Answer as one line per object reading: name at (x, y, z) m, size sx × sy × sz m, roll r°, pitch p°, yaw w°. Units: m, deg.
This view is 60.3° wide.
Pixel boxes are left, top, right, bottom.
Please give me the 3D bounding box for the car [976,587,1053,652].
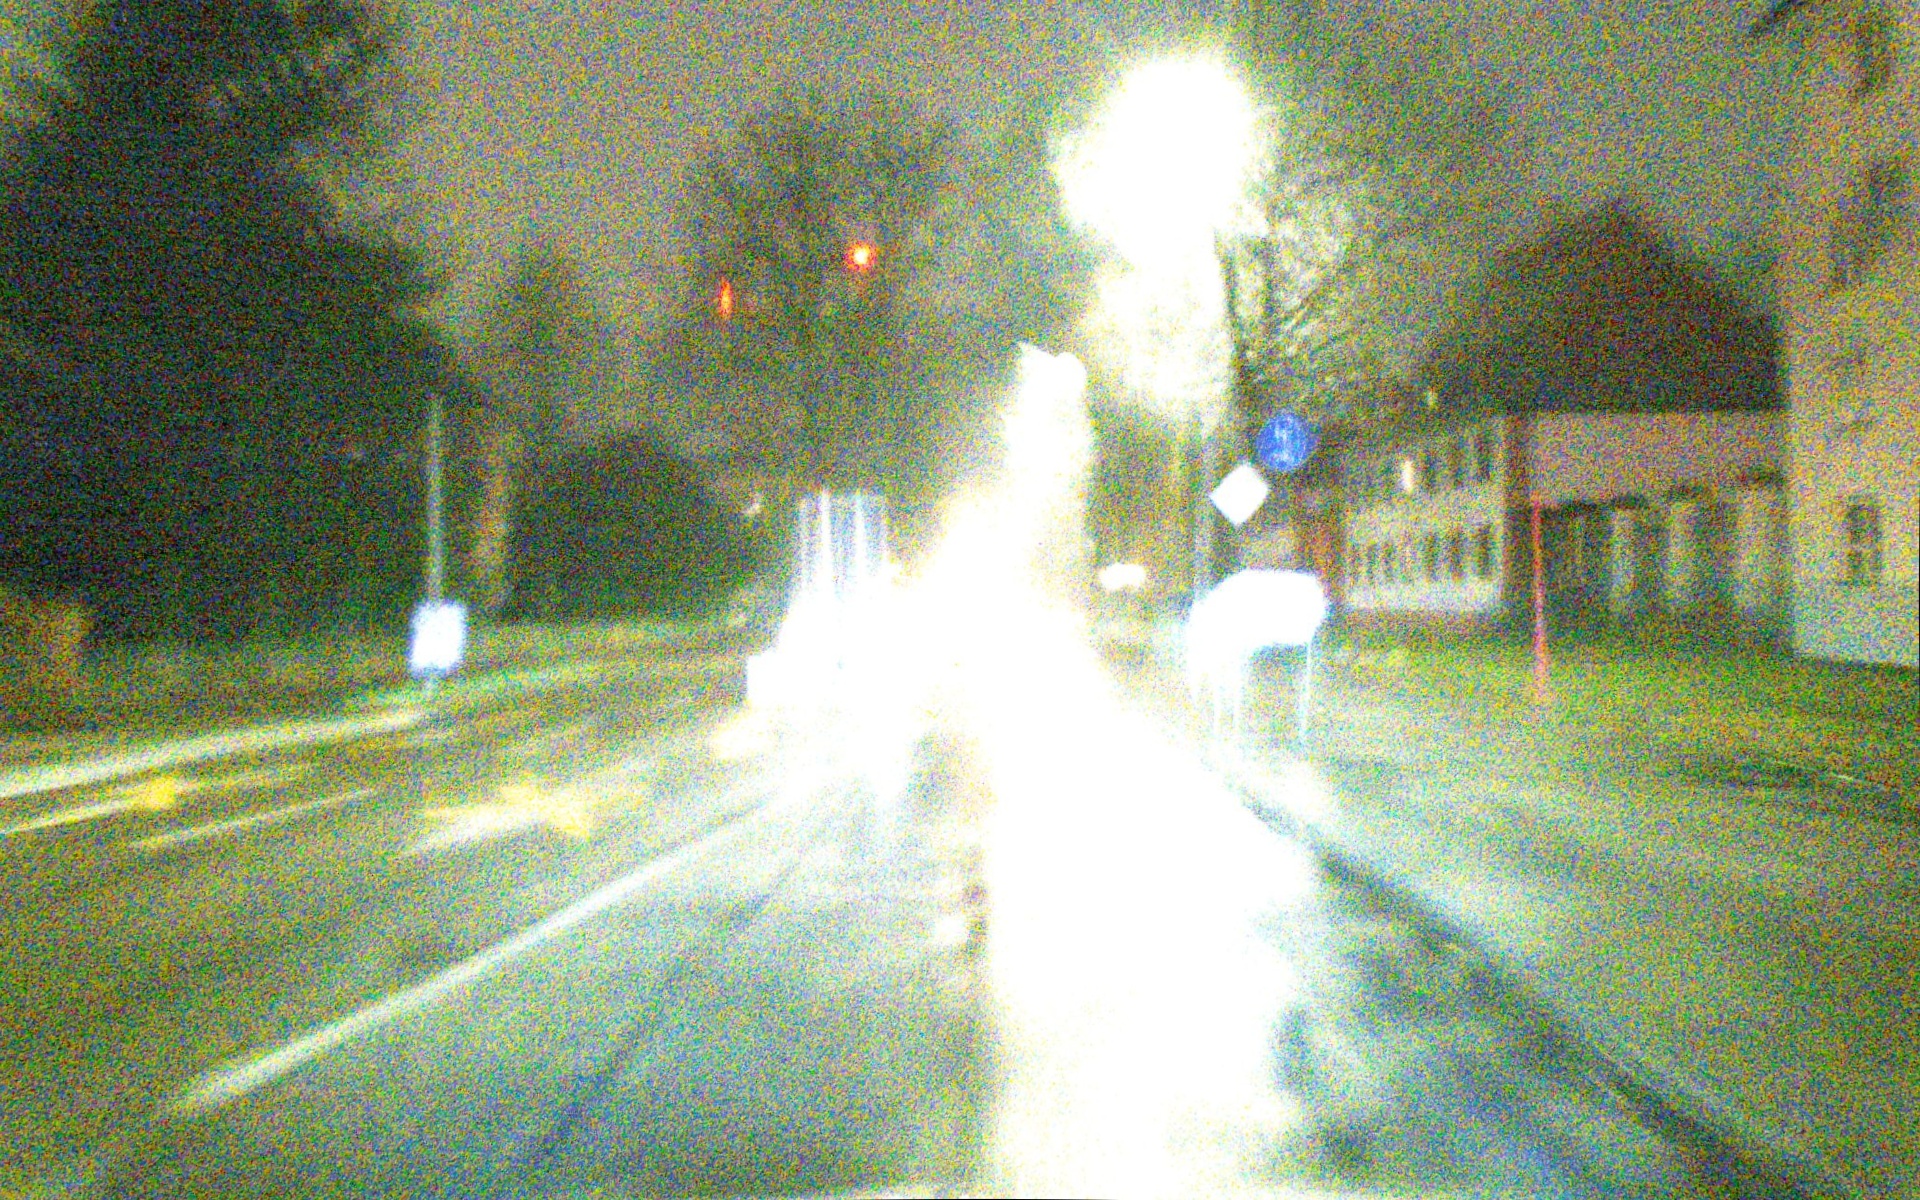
car at (1.522, 0.538, 47.727) m, size 1.953 × 1.713 × 3.999 m, roll 2°, pitch 0°, yaw -1°
